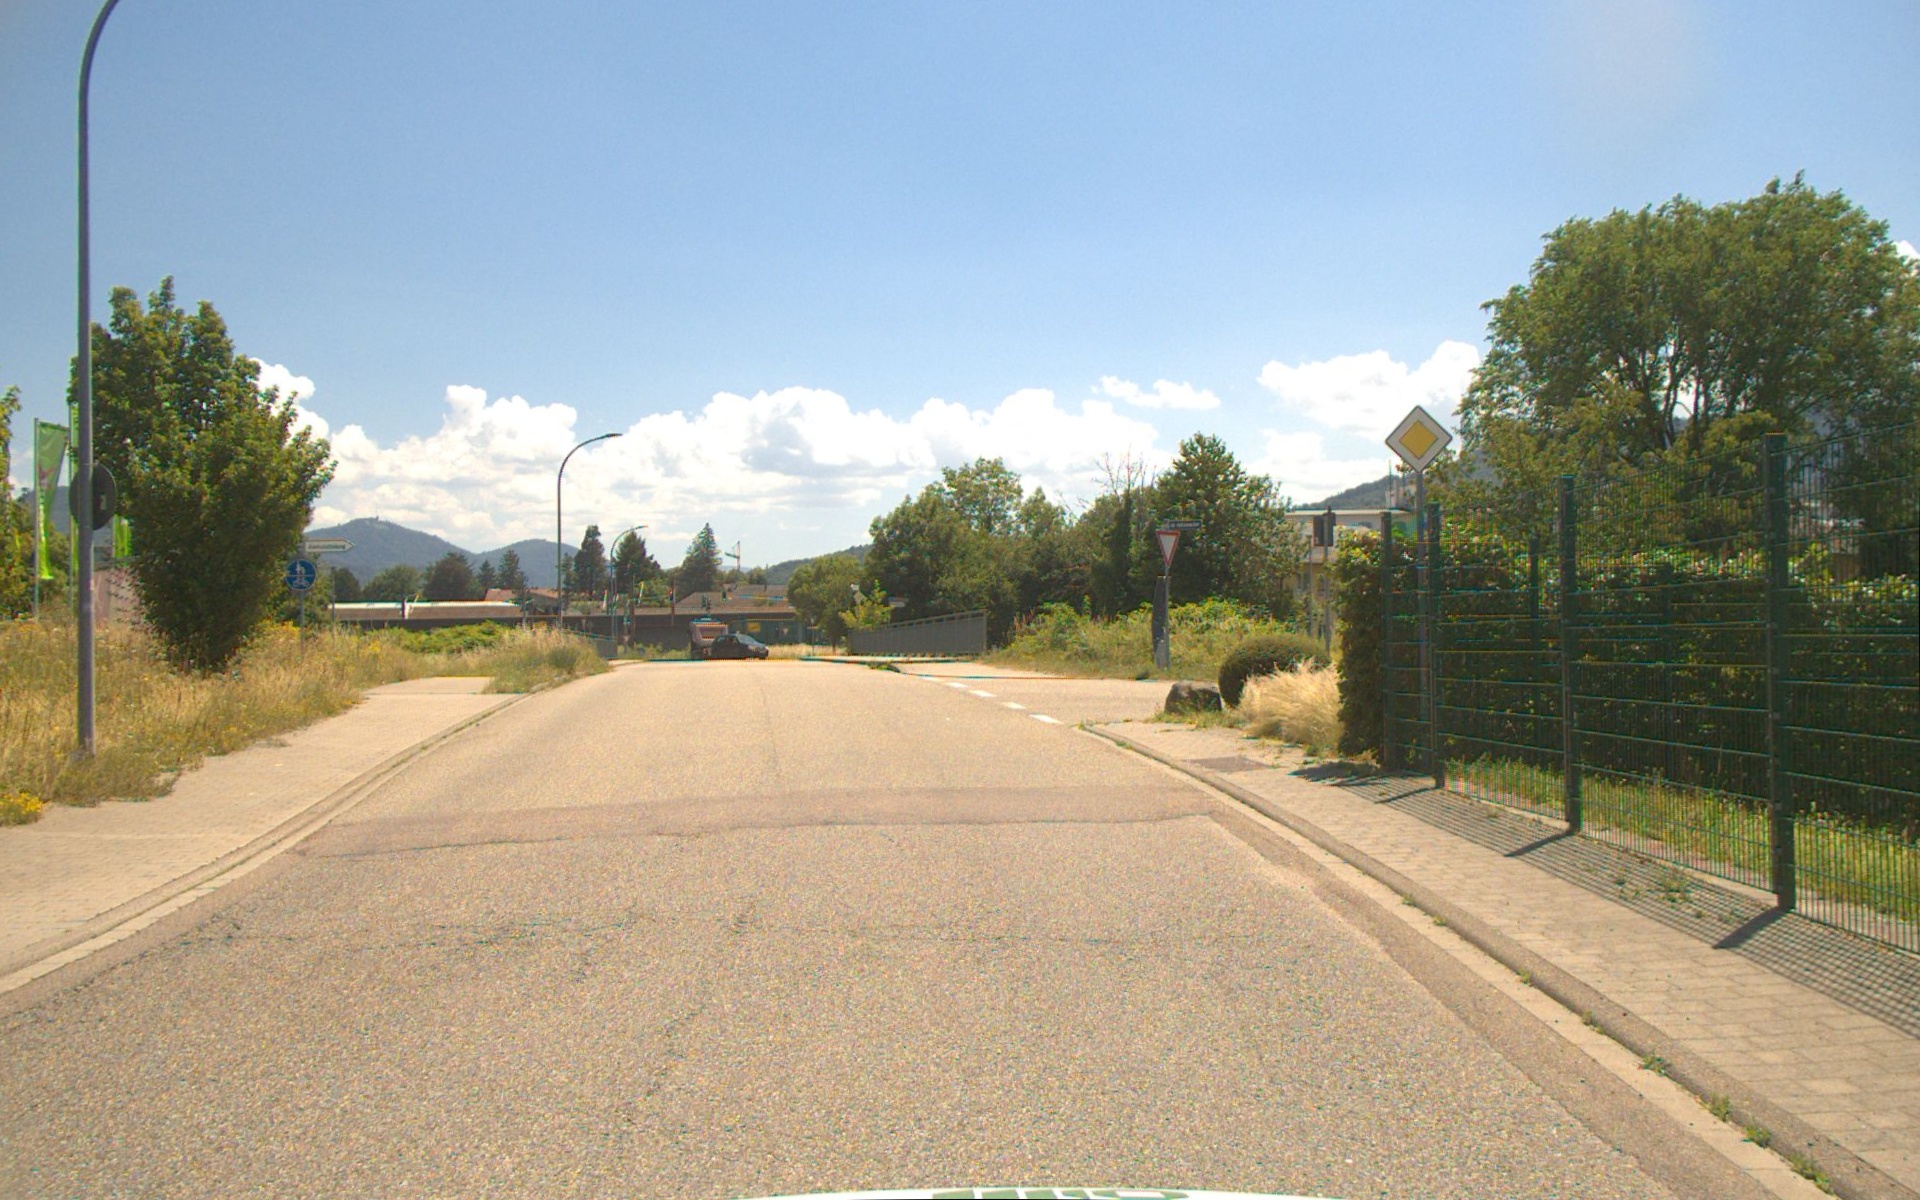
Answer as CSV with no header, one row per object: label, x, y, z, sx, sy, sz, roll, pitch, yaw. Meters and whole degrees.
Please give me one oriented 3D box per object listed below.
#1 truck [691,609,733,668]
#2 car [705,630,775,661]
truck,-19.390,3.091,129.053,2.941,4.254,11.776,0,-3,-10
car,-12.516,2.577,94.219,3.696,1.663,1.880,-1,0,37
